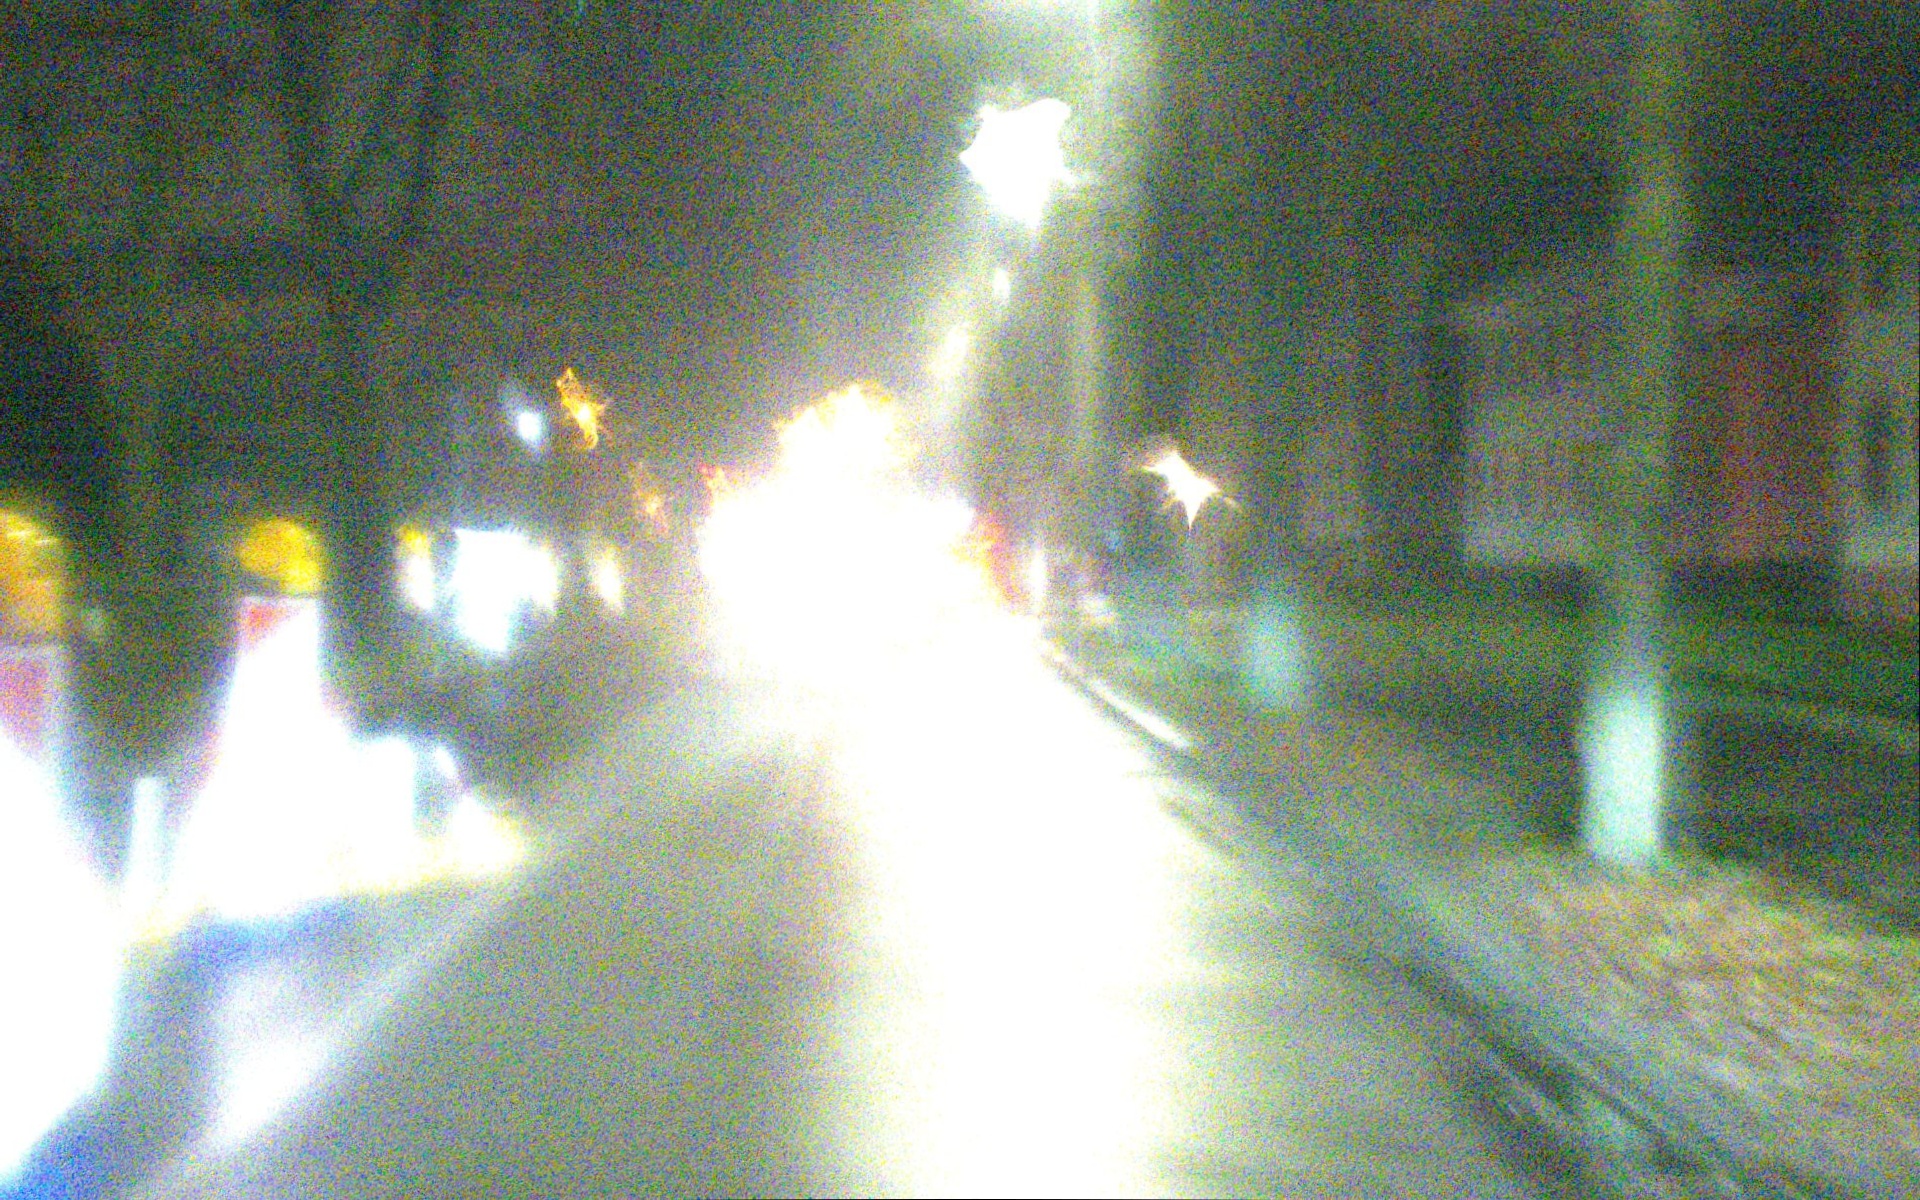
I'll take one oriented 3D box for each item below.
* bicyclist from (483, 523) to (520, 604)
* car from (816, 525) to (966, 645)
[{"bbox_3d":[-9.209,-0.741,68.999,0.636,1.589,0.960,1,2,-2],"label":"bicyclist"},{"bbox_3d":[-1.045,-0.242,50.029,1.993,1.678,4.001,0,1,-4],"label":"car"}]
